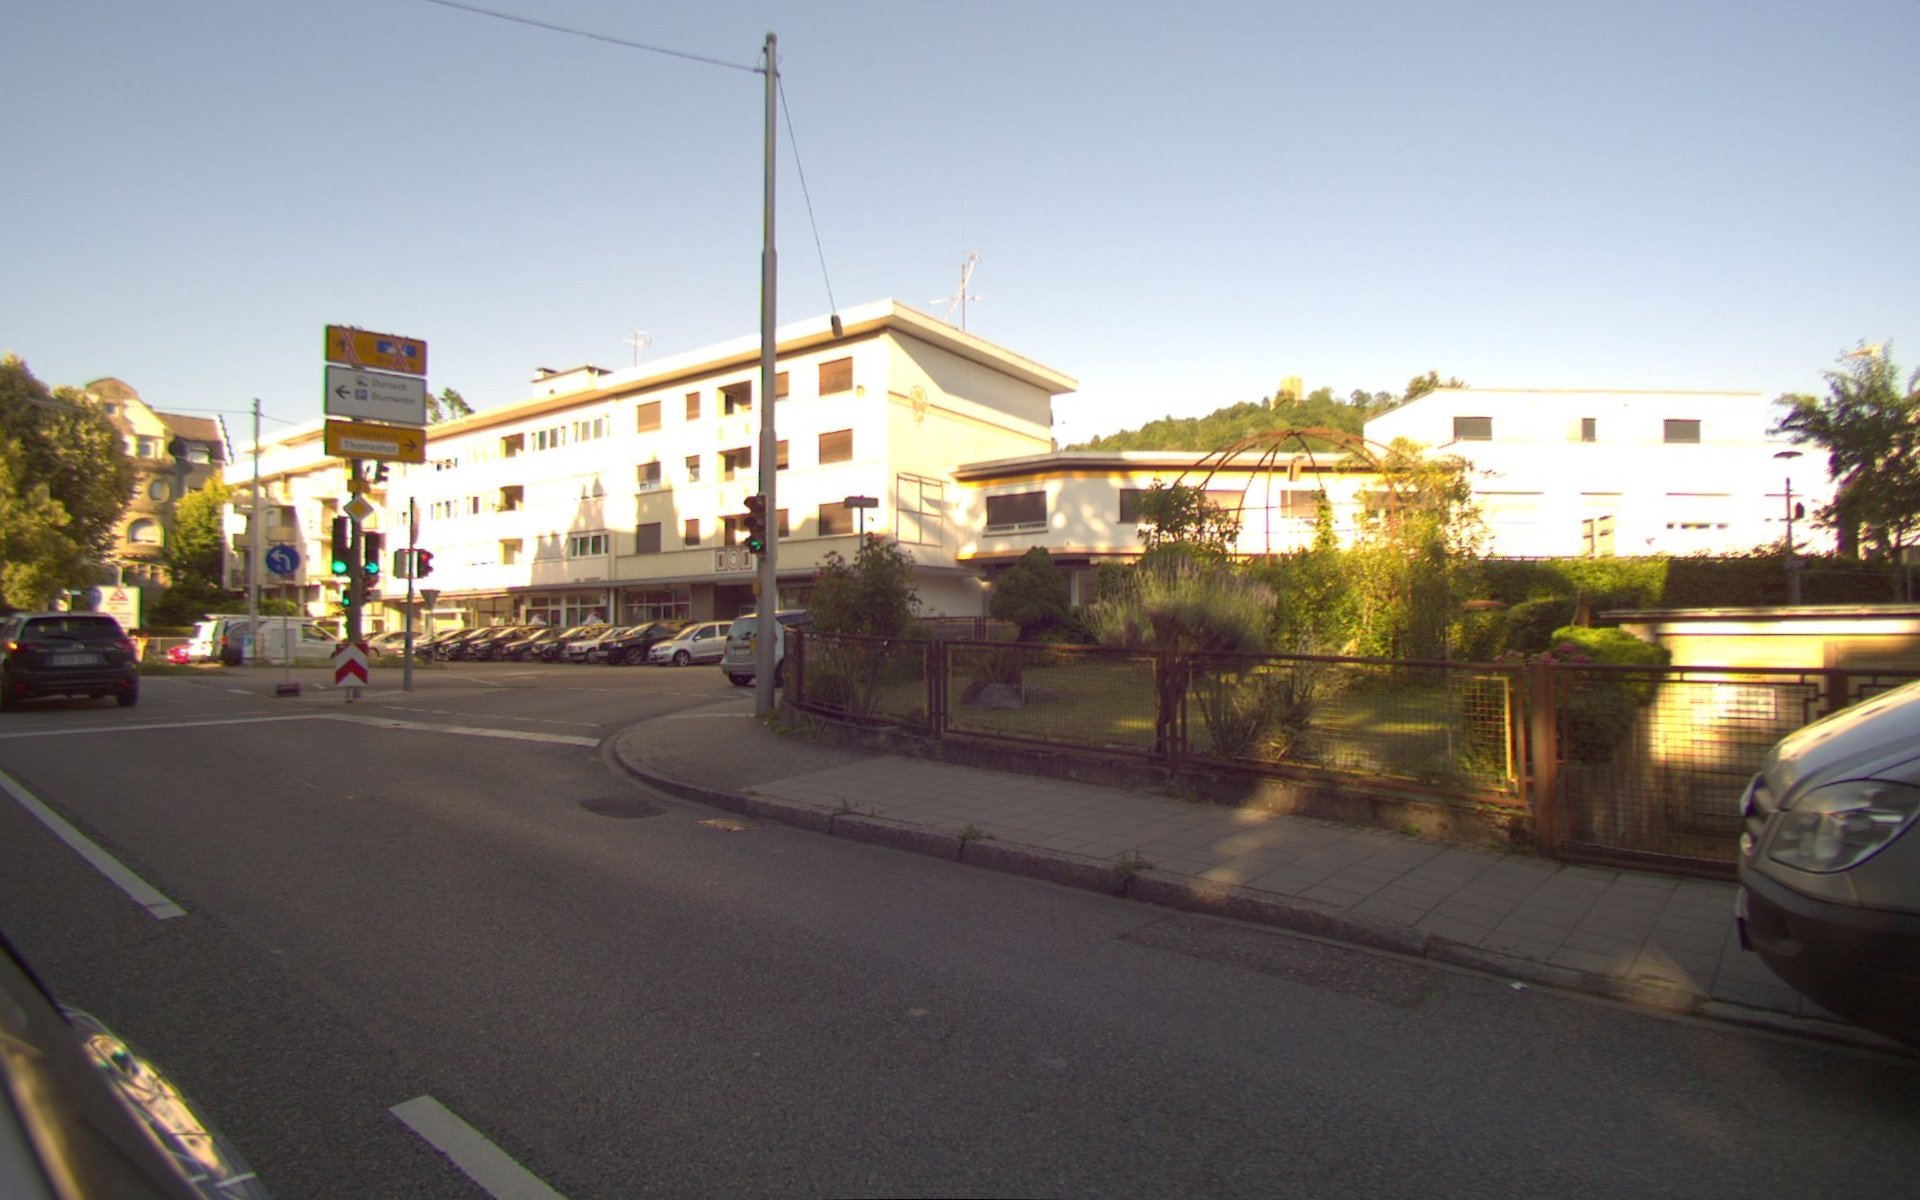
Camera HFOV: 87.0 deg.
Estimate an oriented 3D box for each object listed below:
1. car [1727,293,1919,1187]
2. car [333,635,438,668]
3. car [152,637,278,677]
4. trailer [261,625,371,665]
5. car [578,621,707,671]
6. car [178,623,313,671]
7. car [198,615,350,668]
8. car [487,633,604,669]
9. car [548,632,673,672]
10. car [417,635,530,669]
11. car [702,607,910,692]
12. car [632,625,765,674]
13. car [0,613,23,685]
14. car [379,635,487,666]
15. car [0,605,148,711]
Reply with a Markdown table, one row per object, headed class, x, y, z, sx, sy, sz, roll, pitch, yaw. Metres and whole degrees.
| class | x | y | z | sx | sy | sz | roll | pitch | yaw |
| --- | --- | --- | --- | --- | --- | --- | --- | --- | --- |
| car | 5.279 | 0.327 | 1.838 | 6.012 | 2.479 | 2.046 | -2 | -2 | 42 |
| car | -29.572 | 2.630 | 52.182 | 1.998 | 1.522 | 4.270 | -3 | -2 | 40 |
| car | -32.023 | 2.423 | 43.607 | 1.996 | 1.490 | 3.955 | -3 | -1 | 36 |
| trailer | -24.569 | 1.710 | 38.662 | 1.571 | 1.407 | 3.225 | -3 | -2 | 35 |
| car | -12.049 | 1.719 | 38.508 | 4.258 | 1.728 | 2.004 | 0 | -2 | -39 |
| car | -29.829 | 1.938 | 42.330 | 1.998 | 1.866 | 4.269 | -3 | -2 | 40 |
| car | -27.433 | 1.629 | 40.593 | 2.113 | 1.980 | 4.626 | -3 | -2 | 35 |
| car | -17.881 | 2.195 | 43.828 | 1.998 | 1.409 | 4.270 | -3 | -2 | 40 |
| car | -13.885 | 2.055 | 40.297 | 4.258 | 1.409 | 2.004 | 0 | -2 | -39 |
| car | -22.432 | 2.374 | 46.764 | 1.998 | 1.409 | 4.270 | -3 | -2 | 40 |
| car | -3.257 | 1.020 | 22.060 | 1.959 | 1.661 | 4.225 | -3 | -2 | 41 |
| car | -9.601 | 1.797 | 37.281 | 4.258 | 1.623 | 2.004 | 0 | -2 | -39 |
| car | -24.278 | 1.219 | 24.498 | 4.529 | 1.661 | 1.758 | -3 | -2 | 39 |
| car | -25.938 | 2.468 | 49.913 | 1.998 | 1.409 | 4.270 | -3 | -2 | 40 |
| car | -16.114 | 1.000 | 17.996 | 4.281 | 1.661 | 1.933 | -3 | -2 | 42 |
